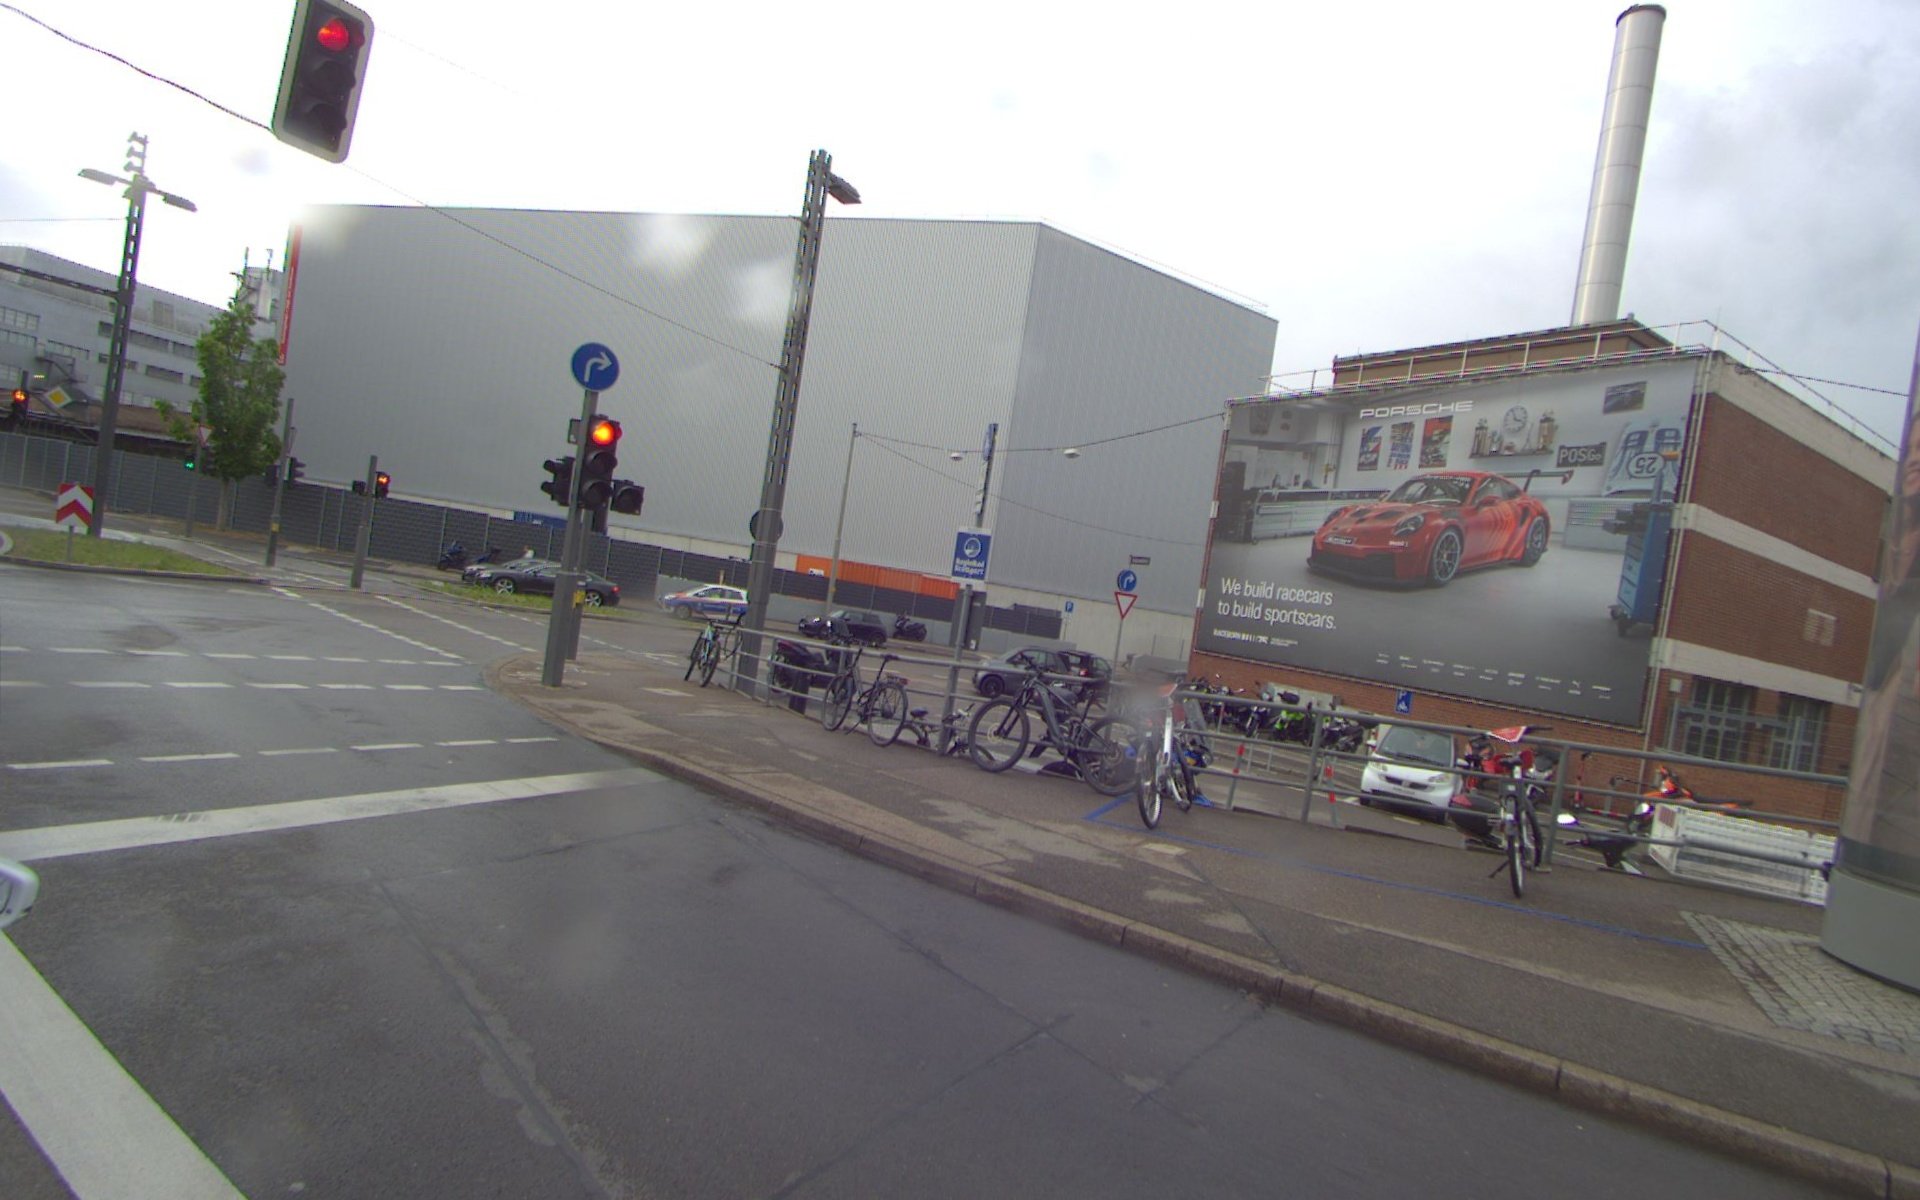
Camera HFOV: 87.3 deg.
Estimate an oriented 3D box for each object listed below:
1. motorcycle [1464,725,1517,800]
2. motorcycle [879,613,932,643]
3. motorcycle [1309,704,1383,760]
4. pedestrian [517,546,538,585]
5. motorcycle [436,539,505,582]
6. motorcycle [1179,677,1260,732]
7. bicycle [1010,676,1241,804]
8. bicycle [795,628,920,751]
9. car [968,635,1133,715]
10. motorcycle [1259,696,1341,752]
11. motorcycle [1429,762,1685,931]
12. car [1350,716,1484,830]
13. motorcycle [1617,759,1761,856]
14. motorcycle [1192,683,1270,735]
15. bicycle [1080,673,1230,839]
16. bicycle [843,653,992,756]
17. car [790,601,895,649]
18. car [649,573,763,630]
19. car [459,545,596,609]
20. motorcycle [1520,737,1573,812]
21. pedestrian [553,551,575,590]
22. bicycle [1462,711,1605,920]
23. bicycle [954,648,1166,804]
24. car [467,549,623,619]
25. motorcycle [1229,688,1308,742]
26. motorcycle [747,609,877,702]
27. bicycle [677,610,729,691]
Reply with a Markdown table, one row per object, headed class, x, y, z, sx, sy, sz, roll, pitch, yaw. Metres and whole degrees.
| class | x | y | z | sx | sy | sz | roll | pitch | yaw |
| --- | --- | --- | --- | --- | --- | --- | --- | --- | --- |
| motorcycle | 11.644 | 3.523 | 22.039 | 0.677 | 1.327 | 2.016 | 9 | 3 | 33 |
| motorcycle | -2.779 | 1.459 | 51.650 | 2.471 | 1.200 | 0.991 | 8 | -1 | -34 |
| motorcycle | 9.327 | 3.184 | 24.278 | 2.005 | 1.206 | 0.603 | 6 | 3 | -38 |
| pedestrian | -17.573 | -1.397 | 40.888 | 0.605 | 1.499 | 0.421 | 7 | 0 | -23 |
| motorcycle | -19.746 | -1.596 | 40.588 | 2.335 | 1.360 | 0.648 | 8 | 0 | -30 |
| motorcycle | 7.263 | 2.926 | 28.191 | 1.987 | 1.206 | 0.608 | 7 | 3 | -4 |
| bicycle | 1.657 | 1.379 | 10.240 | 2.138 | 0.916 | 0.693 | 6 | -1 | 32 |
| bicycle | -1.183 | 0.971 | 11.252 | 0.383 | 1.133 | 1.731 | 6 | 0 | -39 |
| car | 2.411 | 2.017 | 27.478 | 4.091 | 1.547 | 1.836 | 8 | -2 | -3 |
| motorcycle | 8.474 | 3.102 | 25.018 | 1.999 | 1.206 | 0.605 | 6 | 3 | -29 |
| motorcycle | 5.128 | 2.097 | 8.778 | 1.718 | 1.002 | 0.699 | 8 | 0 | 21 |
| car | 8.513 | 3.083 | 18.581 | 1.665 | 1.499 | 3.555 | 10 | 1 | 31 |
| motorcycle | 14.123 | 3.979 | 19.529 | 0.922 | 1.327 | 1.961 | 5 | 4 | -41 |
| motorcycle | 7.303 | 2.940 | 27.070 | 1.998 | 1.206 | 0.605 | 6 | 3 | -27 |
| bicycle | 1.679 | 1.234 | 8.420 | 0.666 | 1.154 | 1.774 | 6 | -1 | 27 |
| bicycle | -0.522 | 1.171 | 11.512 | 1.789 | 0.916 | 0.530 | 6 | -1 | 44 |
| car | -5.020 | 1.078 | 43.106 | 3.958 | 1.408 | 1.744 | 10 | -1 | -29 |
| car | -10.129 | 0.071 | 40.149 | 3.939 | 1.620 | 1.898 | 10 | -1 | -29 |
| car | -15.576 | -0.814 | 36.289 | 4.254 | 1.557 | 1.744 | 10 | -1 | -29 |
| motorcycle | 12.499 | 3.683 | 21.414 | 0.564 | 1.327 | 1.863 | 10 | 3 | 37 |
| pedestrian | -16.148 | -1.203 | 41.022 | 0.642 | 1.499 | 0.436 | 7 | 0 | -25 |
| bicycle | 4.155 | 1.486 | 7.407 | 0.581 | 1.176 | 1.805 | 6 | 0 | 23 |
| bicycle | 0.917 | 1.155 | 9.635 | 1.969 | 1.176 | 0.385 | 6 | 0 | 35 |
| car | -13.807 | -0.532 | 33.550 | 4.536 | 1.557 | 1.744 | 10 | -1 | -29 |
| motorcycle | 8.004 | 2.986 | 26.093 | 1.999 | 1.206 | 0.605 | 6 | 3 | -29 |
| motorcycle | -2.666 | 1.035 | 18.373 | 0.746 | 1.469 | 2.225 | 8 | -1 | 42 |
| bicycle | -4.113 | 0.777 | 16.050 | 0.381 | 1.111 | 1.740 | 6 | 0 | -25 |
